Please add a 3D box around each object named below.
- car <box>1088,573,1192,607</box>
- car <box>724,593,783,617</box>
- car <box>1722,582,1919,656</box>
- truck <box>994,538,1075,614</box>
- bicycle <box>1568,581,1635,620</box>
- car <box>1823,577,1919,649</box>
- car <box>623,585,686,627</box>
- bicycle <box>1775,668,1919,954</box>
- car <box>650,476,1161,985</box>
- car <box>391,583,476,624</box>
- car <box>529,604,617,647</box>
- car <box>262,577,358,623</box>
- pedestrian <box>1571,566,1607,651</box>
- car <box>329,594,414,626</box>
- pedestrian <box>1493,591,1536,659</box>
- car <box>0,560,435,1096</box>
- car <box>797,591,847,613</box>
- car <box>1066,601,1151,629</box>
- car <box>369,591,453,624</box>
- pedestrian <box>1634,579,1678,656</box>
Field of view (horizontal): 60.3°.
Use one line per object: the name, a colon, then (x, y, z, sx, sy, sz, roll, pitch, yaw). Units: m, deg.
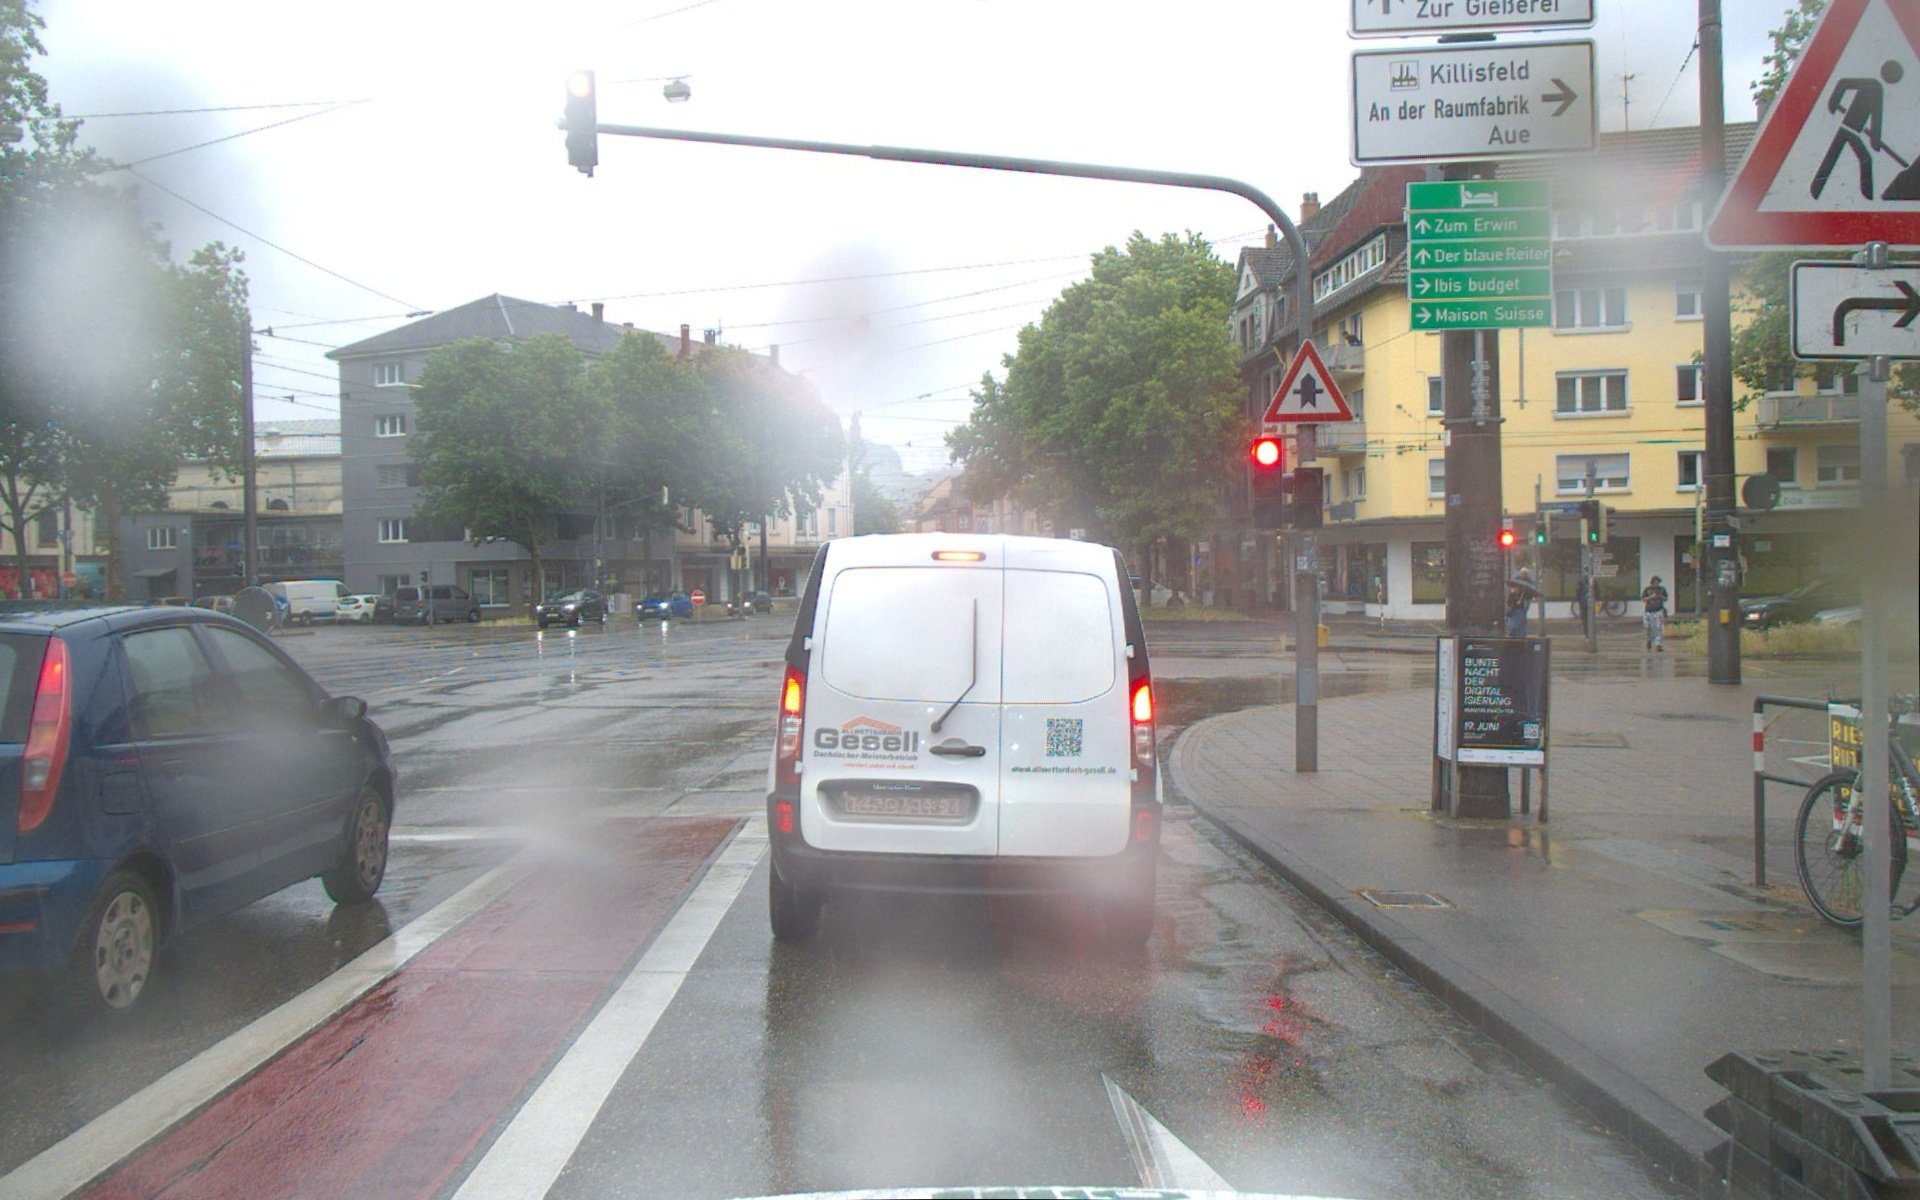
car: (7.493, -0.419, 69.080, 4.088, 1.362, 1.518, 0, 1, -8)
car: (-11.581, 0.274, 92.996, 1.909, 1.260, 4.003, 0, 2, 16)
car: (20.858, 0.465, 39.072, 4.832, 1.672, 2.001, 0, -2, 11)
truck: (5.605, -1.642, 120.179, 3.395, 5.176, 15.320, 0, 0, 12)
bicycle: (21.550, 0.007, 55.590, 2.056, 1.283, 0.532, 0, 1, 14)
car: (21.074, 0.273, 35.878, 3.854, 1.516, 1.808, 0, 1, 15)
car: (-15.203, 0.281, 82.390, 1.951, 2.049, 4.003, 0, 0, 7)
bicycle: (4.250, 0.914, 7.080, 0.503, 1.126, 2.017, 3, 0, 1)
car: (-0.253, 0.533, 9.171, 2.058, 2.047, 4.962, 0, 0, -1)
car: (-26.802, 0.188, 84.291, 1.954, 2.049, 3.996, 0, 0, 26)
car: (-16.286, 1.050, 69.757, 1.909, 1.635, 4.003, 0, 2, 16)
car: (-34.140, -0.037, 86.962, 1.953, 2.236, 4.787, 1, 2, 22)
pedestrian: (15.479, 0.199, 40.677, 0.779, 2.049, 0.860, 0, 0, 24)
car: (-30.981, 0.502, 87.161, 1.915, 1.522, 3.997, 0, 2, 26)
pedestrian: (12.876, 0.564, 38.380, 0.809, 1.561, 0.614, 1, 0, -39)
car: (-3.611, 0.675, 6.854, 1.692, 1.606, 3.820, 0, 0, -1)
car: (-8.781, 0.112, 105.440, 1.909, 1.260, 4.003, 0, 2, 16)
car: (6.352, 0.638, 70.957, 3.378, 1.150, 1.469, 0, 0, -9)
car: (-28.655, 0.371, 86.460, 1.954, 1.556, 3.997, 0, 2, 26)
pedestrian: (15.503, 0.384, 36.823, 0.886, 1.698, 1.019, 0, 0, 24)
